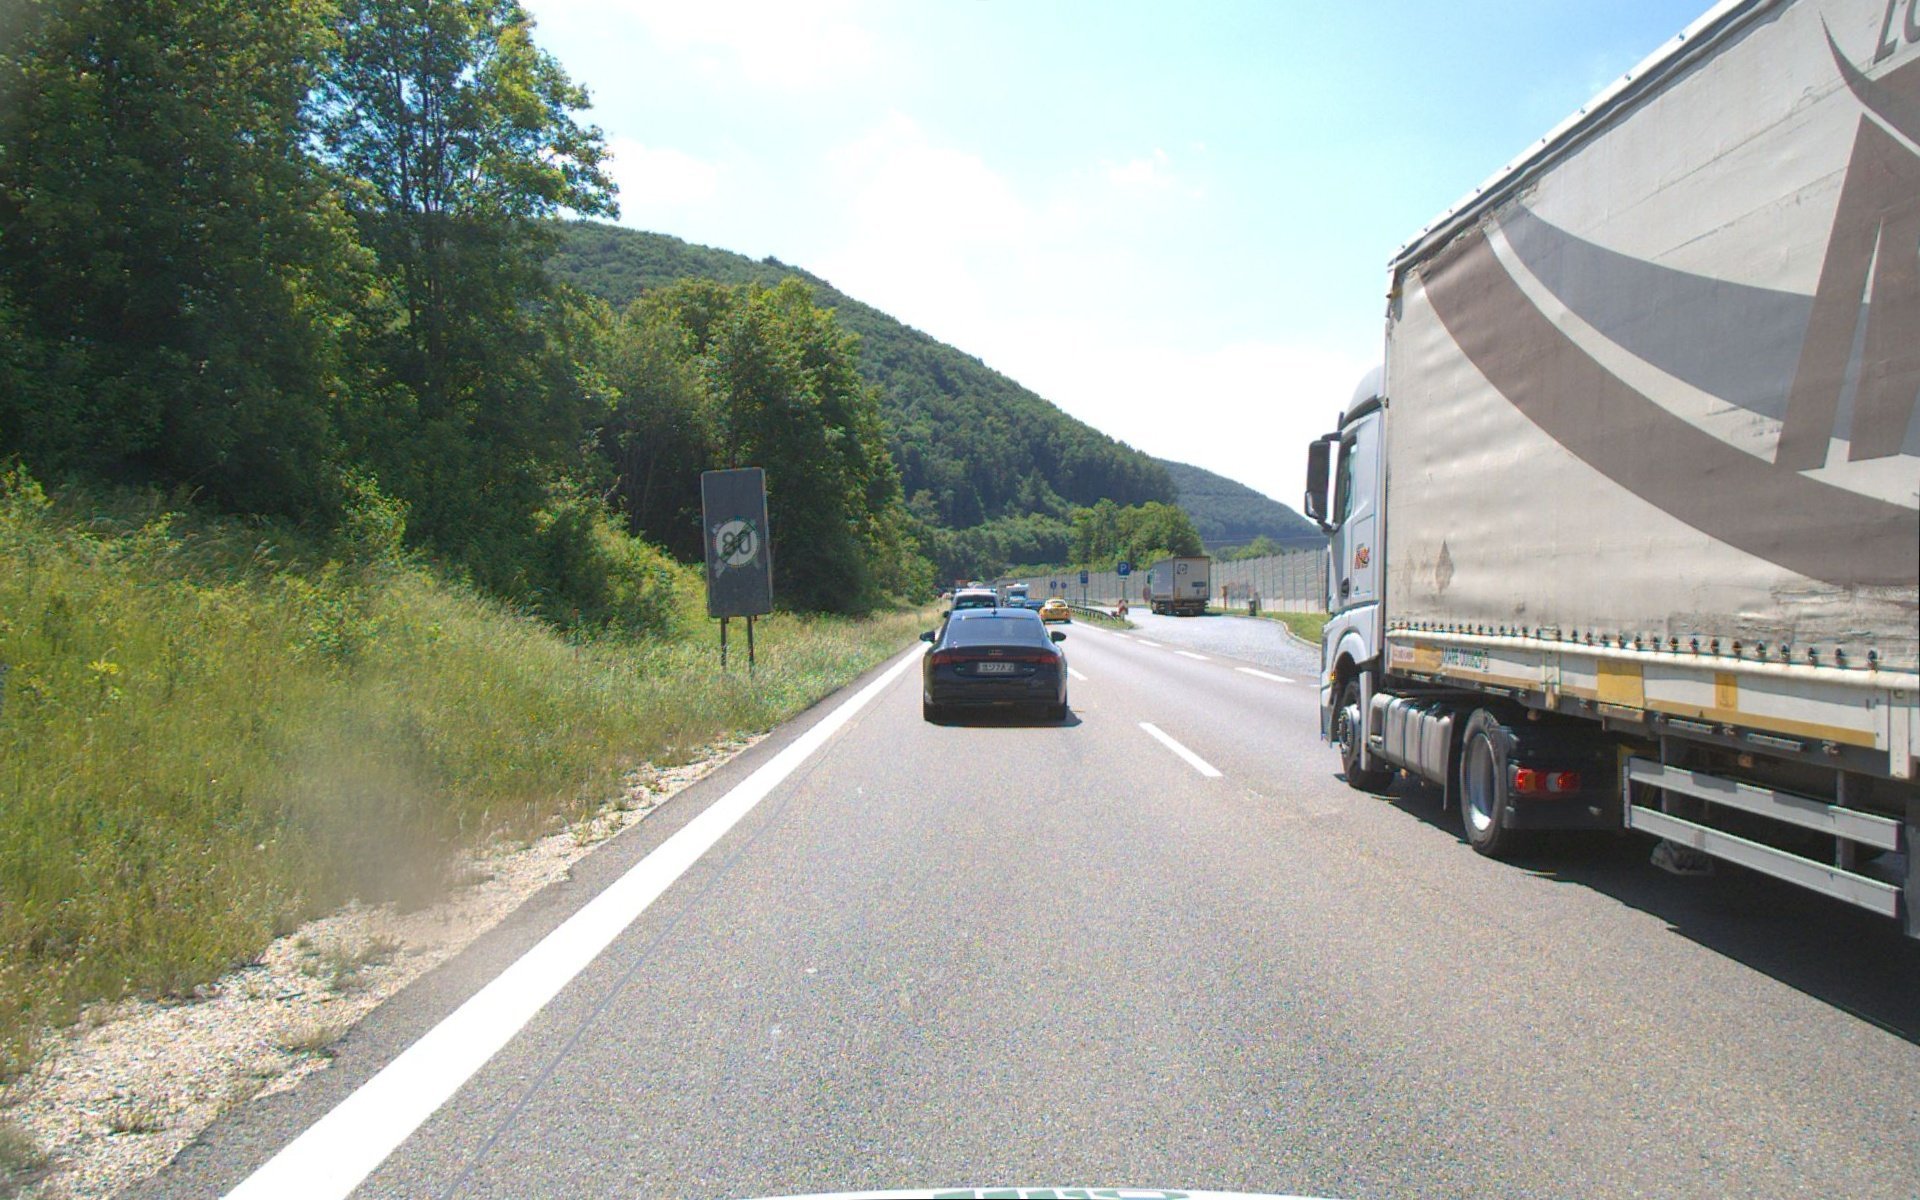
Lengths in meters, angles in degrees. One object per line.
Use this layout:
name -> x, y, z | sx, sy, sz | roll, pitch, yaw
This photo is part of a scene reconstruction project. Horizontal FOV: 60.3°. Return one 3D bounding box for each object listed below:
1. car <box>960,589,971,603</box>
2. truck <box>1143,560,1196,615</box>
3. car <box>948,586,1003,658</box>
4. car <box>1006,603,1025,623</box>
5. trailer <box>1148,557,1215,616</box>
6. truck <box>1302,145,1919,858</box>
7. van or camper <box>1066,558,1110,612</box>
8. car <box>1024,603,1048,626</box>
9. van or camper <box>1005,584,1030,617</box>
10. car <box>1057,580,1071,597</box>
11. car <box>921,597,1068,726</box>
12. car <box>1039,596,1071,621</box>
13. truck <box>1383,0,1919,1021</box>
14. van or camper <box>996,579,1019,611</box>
car -> 0.798, -0.595, 238.365 | 1.653, 2.049, 4.000 | 0, 0, 0
truck -> 15.662, -0.914, 123.830 | 3.341, 3.968, 5.387 | 0, 0, 0
car -> 0.448, 0.651, 49.052 | 1.490, 2.003, 3.514 | 2, -1, 0
car -> 4.613, 1.092, 137.801 | 1.498, 1.552, 3.597 | 2, -1, 1
trailer -> 15.645, -0.903, 117.633 | 3.341, 3.968, 11.151 | 0, 0, 0
truck -> 4.547, -0.535, 12.547 | 2.663, 4.139, 5.753 | 1, -1, 0
van or camper -> 9.794, -1.125, 127.078 | 2.738, 3.909, 6.165 | 2, -1, -1
car -> 5.421, 1.026, 118.243 | 1.498, 1.552, 3.597 | 2, -1, 1
van or camper -> 5.823, 0.104, 169.023 | 2.379, 3.210, 5.203 | 1, -1, 1
car -> 13.026, -1.466, 206.665 | 1.544, 2.049, 3.428 | 0, 0, 1
car -> 0.431, 0.757, 21.928 | 1.775, 1.541, 3.514 | -1, 0, 0
car -> 5.874, 0.549, 102.675 | 1.840, 1.525, 4.000 | 0, 0, 1
truck -> 4.564, -0.646, 5.665 | 2.670, 4.139, 13.739 | 1, -1, 0
van or camper -> 6.246, -0.656, 217.919 | 2.738, 3.975, 6.165 | 2, -1, -1
